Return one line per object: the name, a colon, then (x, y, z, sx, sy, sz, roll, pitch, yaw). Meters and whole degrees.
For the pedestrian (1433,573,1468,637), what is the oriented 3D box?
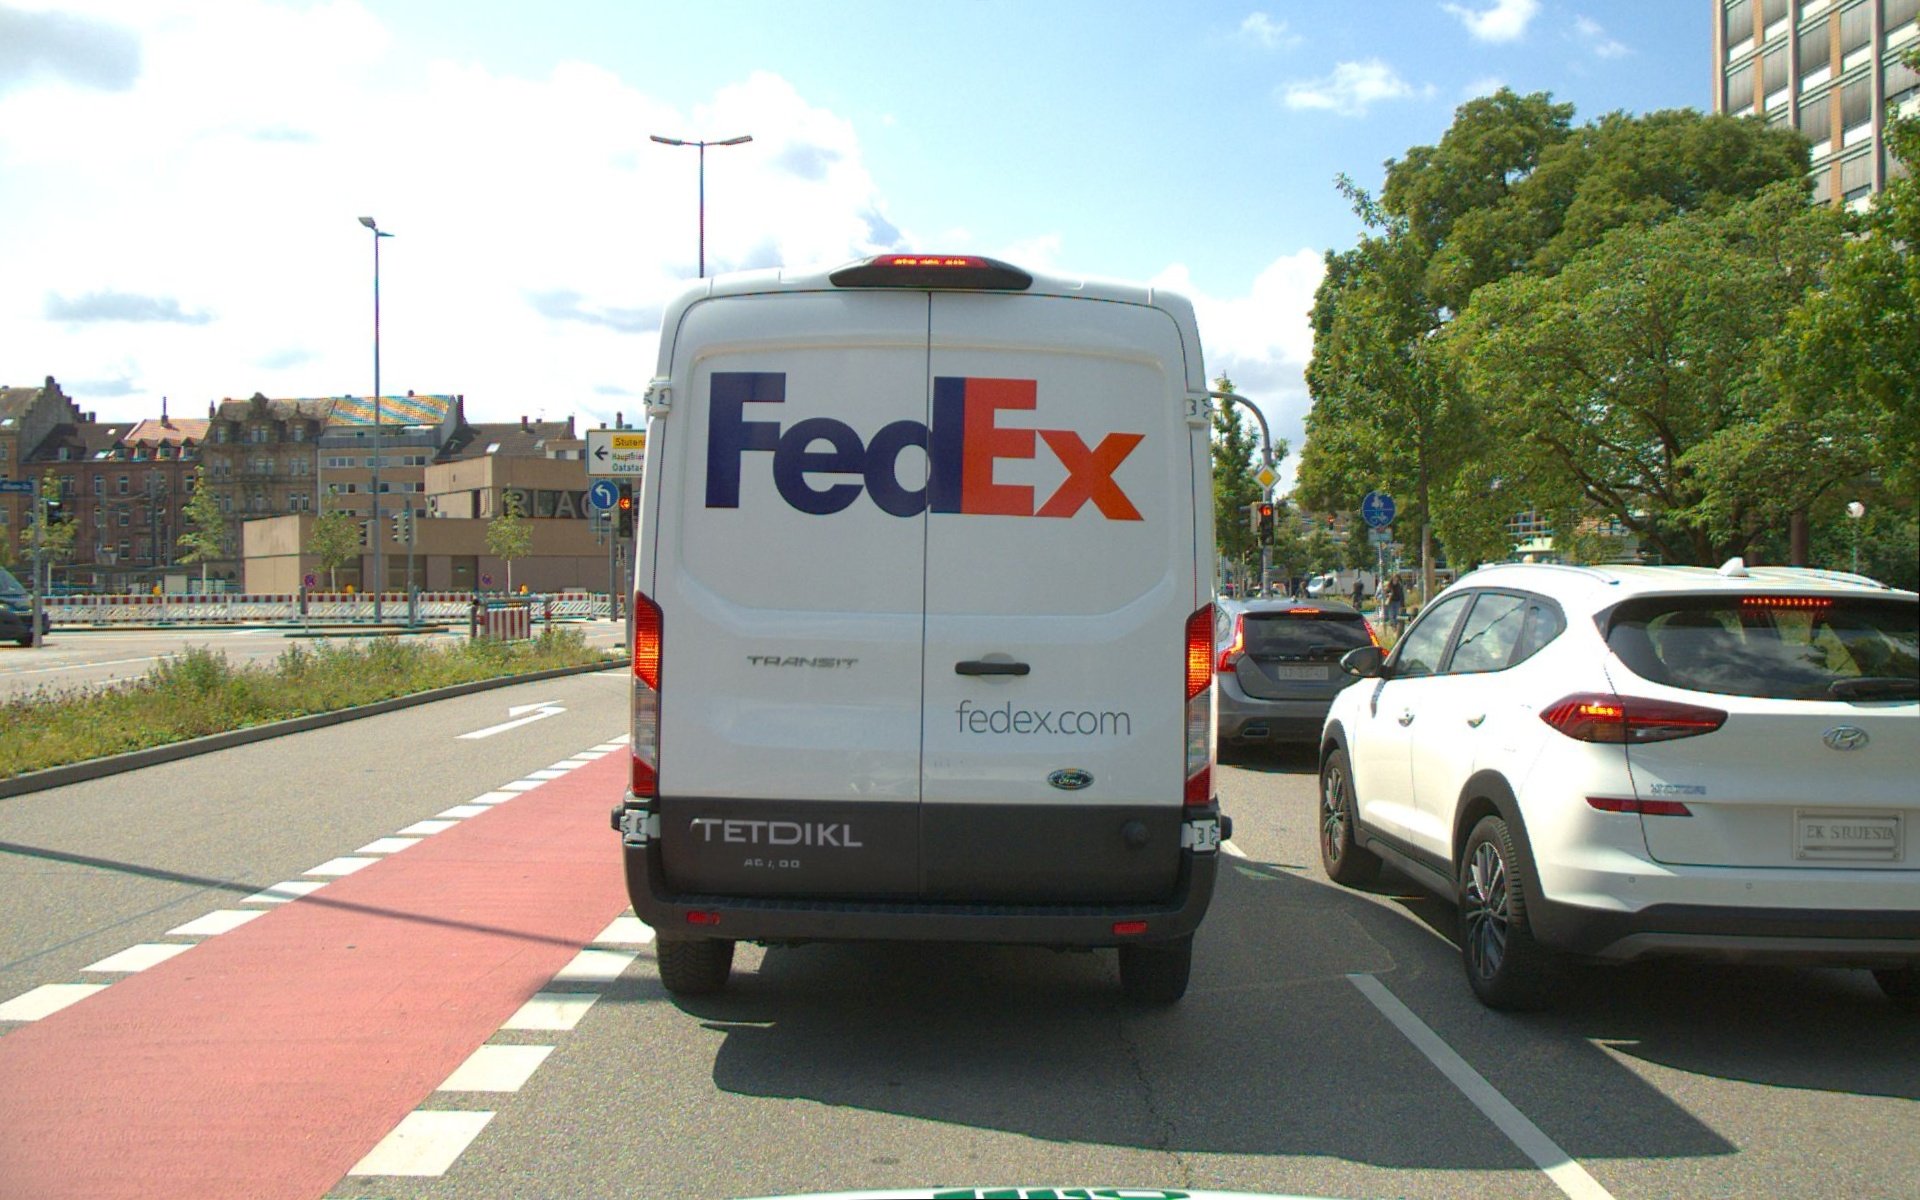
pedestrian: (14.809, 0.146, 49.924, 0.745, 1.882, 0.814, -1, 0, -9)

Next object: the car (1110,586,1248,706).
car: (2.924, 0.565, 22.642, 1.468, 1.489, 3.474, 0, 1, 1)

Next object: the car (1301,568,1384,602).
car: (32.663, -1.283, 141.293, 6.977, 2.765, 2.474, 1, 0, -27)

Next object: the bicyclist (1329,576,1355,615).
bicyclist: (22.119, -0.272, 95.743, 1.402, 2.209, 1.340, 0, 0, 14)

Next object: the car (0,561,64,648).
car: (-26.804, 0.196, 43.778, 4.900, 2.213, 2.155, -2, 1, 0)

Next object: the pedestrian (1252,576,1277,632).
pedestrian: (10.481, 0.130, 56.847, 0.743, 1.882, 0.816, 0, 0, 18)

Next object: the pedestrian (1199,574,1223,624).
pedestrian: (9.565, -0.028, 63.049, 0.744, 1.882, 0.816, 0, 0, -3)

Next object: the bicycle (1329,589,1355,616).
bicycle: (22.131, 0.145, 95.725, 1.395, 1.489, 4.314, 0, 1, 14)

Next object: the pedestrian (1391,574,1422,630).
pedestrian: (15.182, 0.050, 56.247, 0.745, 1.882, 0.814, 0, 0, -9)

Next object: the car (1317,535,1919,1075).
car: (2.859, 0.625, 7.232, 1.777, 1.708, 3.974, 0, 1, 1)

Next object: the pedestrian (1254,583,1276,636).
pedestrian: (10.920, 0.348, 59.211, 0.742, 1.882, 0.817, 0, 0, 14)

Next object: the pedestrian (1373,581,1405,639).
pedestrian: (12.639, 0.289, 48.750, 0.743, 1.684, 0.816, 0, 0, 3)

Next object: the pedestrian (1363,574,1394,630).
pedestrian: (14.153, 0.059, 55.967, 0.745, 1.882, 0.814, -1, 0, -11)

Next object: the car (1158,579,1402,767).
car: (2.936, 0.597, 15.872, 1.656, 1.576, 3.721, 0, 1, 1)

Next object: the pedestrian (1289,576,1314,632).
pedestrian: (11.584, 0.133, 56.078, 0.743, 1.882, 0.816, 0, 0, 18)

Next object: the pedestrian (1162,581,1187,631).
pedestrian: (8.279, 0.221, 63.829, 0.745, 1.882, 0.814, 0, 0, -10)

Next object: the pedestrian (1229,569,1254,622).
pedestrian: (10.233, -0.168, 60.120, 0.796, 1.882, 0.761, 0, 0, 2)

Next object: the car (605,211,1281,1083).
car: (-0.022, 0.119, 7.215, 2.030, 2.626, 4.428, 0, 1, 1)
